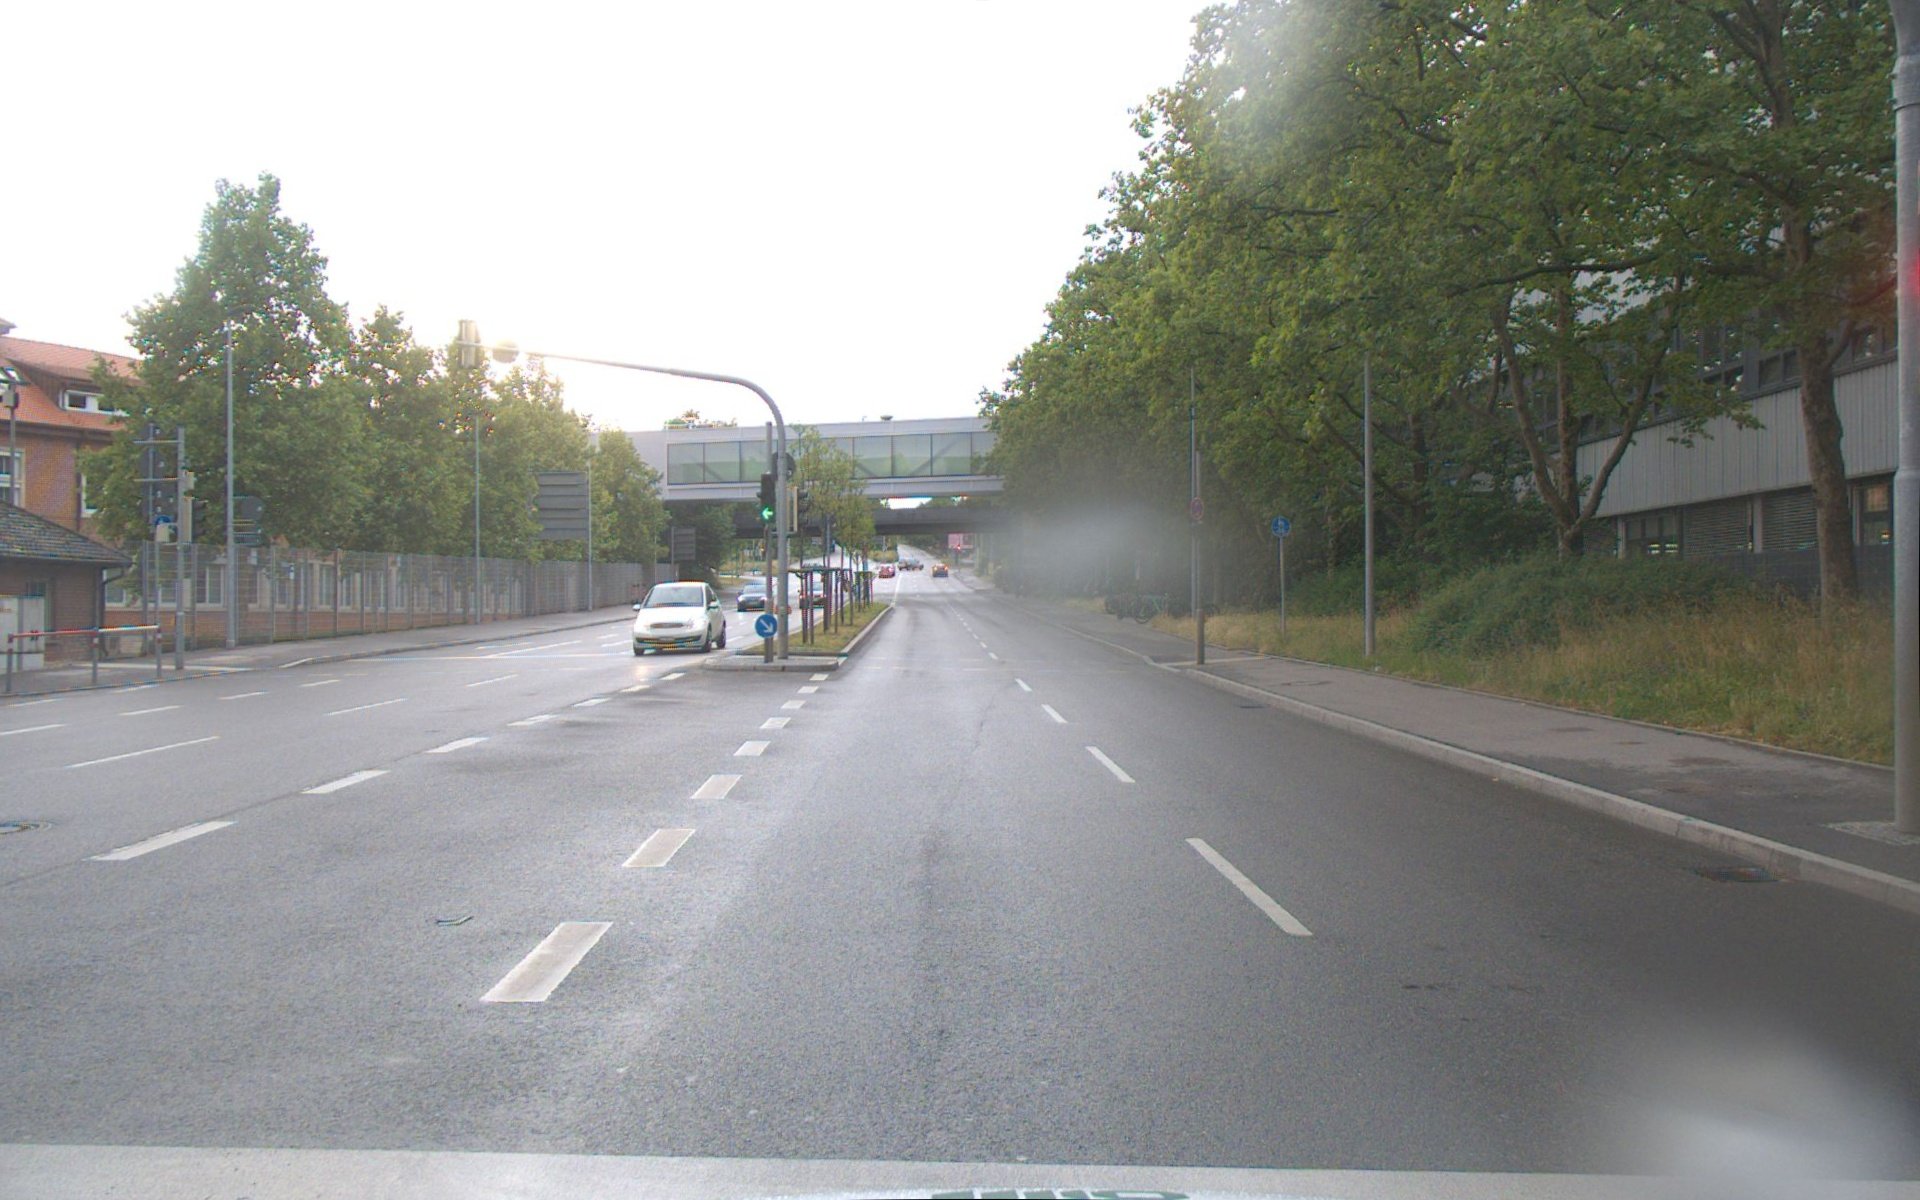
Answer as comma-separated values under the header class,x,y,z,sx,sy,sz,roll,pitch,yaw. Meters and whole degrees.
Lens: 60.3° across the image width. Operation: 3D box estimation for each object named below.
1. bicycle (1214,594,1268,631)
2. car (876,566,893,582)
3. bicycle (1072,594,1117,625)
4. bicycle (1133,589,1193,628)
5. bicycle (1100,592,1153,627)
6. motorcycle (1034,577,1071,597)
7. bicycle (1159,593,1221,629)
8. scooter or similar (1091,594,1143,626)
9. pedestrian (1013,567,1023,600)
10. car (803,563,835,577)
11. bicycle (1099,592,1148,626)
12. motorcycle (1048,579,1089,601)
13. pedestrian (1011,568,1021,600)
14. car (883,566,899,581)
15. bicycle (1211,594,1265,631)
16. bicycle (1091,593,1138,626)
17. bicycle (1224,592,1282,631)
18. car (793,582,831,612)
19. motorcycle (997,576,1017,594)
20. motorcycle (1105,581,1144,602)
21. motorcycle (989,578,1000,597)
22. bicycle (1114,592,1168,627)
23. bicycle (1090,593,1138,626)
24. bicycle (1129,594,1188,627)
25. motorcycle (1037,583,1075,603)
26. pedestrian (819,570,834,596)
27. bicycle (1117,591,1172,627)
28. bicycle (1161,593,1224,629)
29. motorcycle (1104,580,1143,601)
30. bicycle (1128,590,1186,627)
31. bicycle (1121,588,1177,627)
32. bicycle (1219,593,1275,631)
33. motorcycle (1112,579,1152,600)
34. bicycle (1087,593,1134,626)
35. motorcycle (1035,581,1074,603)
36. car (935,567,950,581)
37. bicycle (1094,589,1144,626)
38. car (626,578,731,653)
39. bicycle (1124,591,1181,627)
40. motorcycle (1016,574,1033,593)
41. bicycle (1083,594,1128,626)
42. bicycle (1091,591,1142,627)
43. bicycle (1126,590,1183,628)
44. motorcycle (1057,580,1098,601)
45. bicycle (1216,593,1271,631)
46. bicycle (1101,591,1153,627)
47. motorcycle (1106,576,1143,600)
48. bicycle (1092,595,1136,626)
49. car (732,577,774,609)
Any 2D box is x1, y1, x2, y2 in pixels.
class,x,y,z,sx,sy,sz,roll,pitch,yaw
bicycle,10.795,0.469,63.631,1.949,1.352,0.576,2,-1,0
car,-9.379,-3.227,206.778,1.953,1.792,3.999,2,-1,-1
bicycle,6.002,0.424,73.840,1.923,1.352,0.654,2,-1,0
bicycle,6.901,0.298,56.173,1.949,1.237,0.541,2,-1,0
bicycle,6.384,0.356,63.446,1.949,1.263,0.541,2,-1,0
motorcycle,5.922,-0.849,106.170,2.318,1.223,0.723,-1,0,7
bicycle,7.590,0.364,54.724,1.949,1.114,0.541,2,-1,0
scooter or similar,6.081,0.393,64.233,1.949,1.157,0.541,2,-1,0
pedestrian,3.725,-1.055,106.017,0.609,2.049,0.605,-1,0,-1
car,-20.082,-4.296,235.759,4.420,1.792,1.904,2,-1,-3
bicycle,6.787,0.388,68.698,1.949,1.352,0.576,2,-1,0
motorcycle,6.249,-0.587,95.010,2.318,1.223,0.723,-1,0,7
pedestrian,3.568,-1.012,105.289,0.609,2.049,0.605,-1,0,-1
car,-8.842,-3.389,212.740,1.846,1.792,3.968,2,-1,-1
bicycle,10.795,0.477,64.255,1.949,1.352,0.576,2,-1,0
bicycle,6.575,0.404,70.643,1.920,1.352,0.576,2,-1,0
bicycle,10.663,0.423,60.194,1.949,1.352,0.576,2,-1,0
car,-8.347,-0.178,93.740,1.839,1.653,3.778,-1,0,-1
motorcycle,3.557,-1.156,125.634,0.778,1.334,2.364,-1,0,-19
motorcycle,10.111,-0.539,101.696,2.318,1.223,0.723,-1,0,7
motorcycle,3.051,-1.090,144.885,0.774,1.560,2.375,-1,0,-2
bicycle,6.794,0.352,62.079,1.949,1.263,0.541,2,-1,0
bicycle,6.455,0.398,69.404,1.949,1.352,0.576,2,-1,0
bicycle,6.924,0.368,57.780,1.949,1.114,0.541,2,-1,0
motorcycle,5.914,-0.436,101.819,2.318,1.223,0.723,-1,0,7
pedestrian,-10.590,-1.347,131.311,0.853,2.039,0.855,-1,0,15
bicycle,6.812,0.342,61.130,1.949,1.263,0.541,2,-1,0
bicycle,7.597,0.358,54.156,1.949,1.114,0.541,2,-1,0
motorcycle,9.934,-0.580,100.595,2.318,1.223,0.723,-1,0,7
bicycle,6.934,0.302,58.363,1.949,1.255,0.541,2,-1,0
bicycle,6.918,0.269,60.441,1.949,1.364,0.541,2,-1,0
bicycle,10.800,0.453,62.288,1.949,1.352,0.576,2,-1,0
motorcycle,10.334,-0.623,99.247,2.318,1.223,0.723,-1,0,7
bicycle,6.480,0.410,71.331,1.923,1.352,0.654,2,-1,0
motorcycle,5.707,-0.485,100.043,2.318,1.223,0.723,-1,0,7
car,-2.147,-3.157,203.094,1.837,1.523,4.067,2,-1,-1
bicycle,6.505,0.316,67.840,1.949,1.455,0.723,2,-1,0
car,-6.525,0.329,38.728,1.839,1.653,3.778,-1,0,-1
bicycle,6.938,0.329,59.713,1.949,1.263,0.541,2,-1,0
motorcycle,4.766,-1.222,122.271,0.775,1.334,2.371,-1,0,-9
bicycle,6.562,0.452,74.652,1.923,1.352,0.654,2,-1,0
bicycle,6.263,0.352,66.159,1.949,1.352,0.576,2,-1,0
bicycle,6.938,0.320,59.011,1.949,1.263,0.541,2,-1,0
motorcycle,6.899,-0.561,97.172,2.318,1.223,0.723,-1,0,7
bicycle,10.791,0.461,62.953,1.949,1.352,0.576,2,-1,0
bicycle,6.592,0.353,65.355,1.949,1.352,0.576,2,-1,0
motorcycle,10.688,-0.754,107.394,2.318,1.502,0.723,-1,0,7
bicycle,7.098,0.488,76.163,1.923,1.352,0.654,2,-1,0
car,-11.398,-0.395,91.395,1.839,1.653,3.778,-1,0,-1
